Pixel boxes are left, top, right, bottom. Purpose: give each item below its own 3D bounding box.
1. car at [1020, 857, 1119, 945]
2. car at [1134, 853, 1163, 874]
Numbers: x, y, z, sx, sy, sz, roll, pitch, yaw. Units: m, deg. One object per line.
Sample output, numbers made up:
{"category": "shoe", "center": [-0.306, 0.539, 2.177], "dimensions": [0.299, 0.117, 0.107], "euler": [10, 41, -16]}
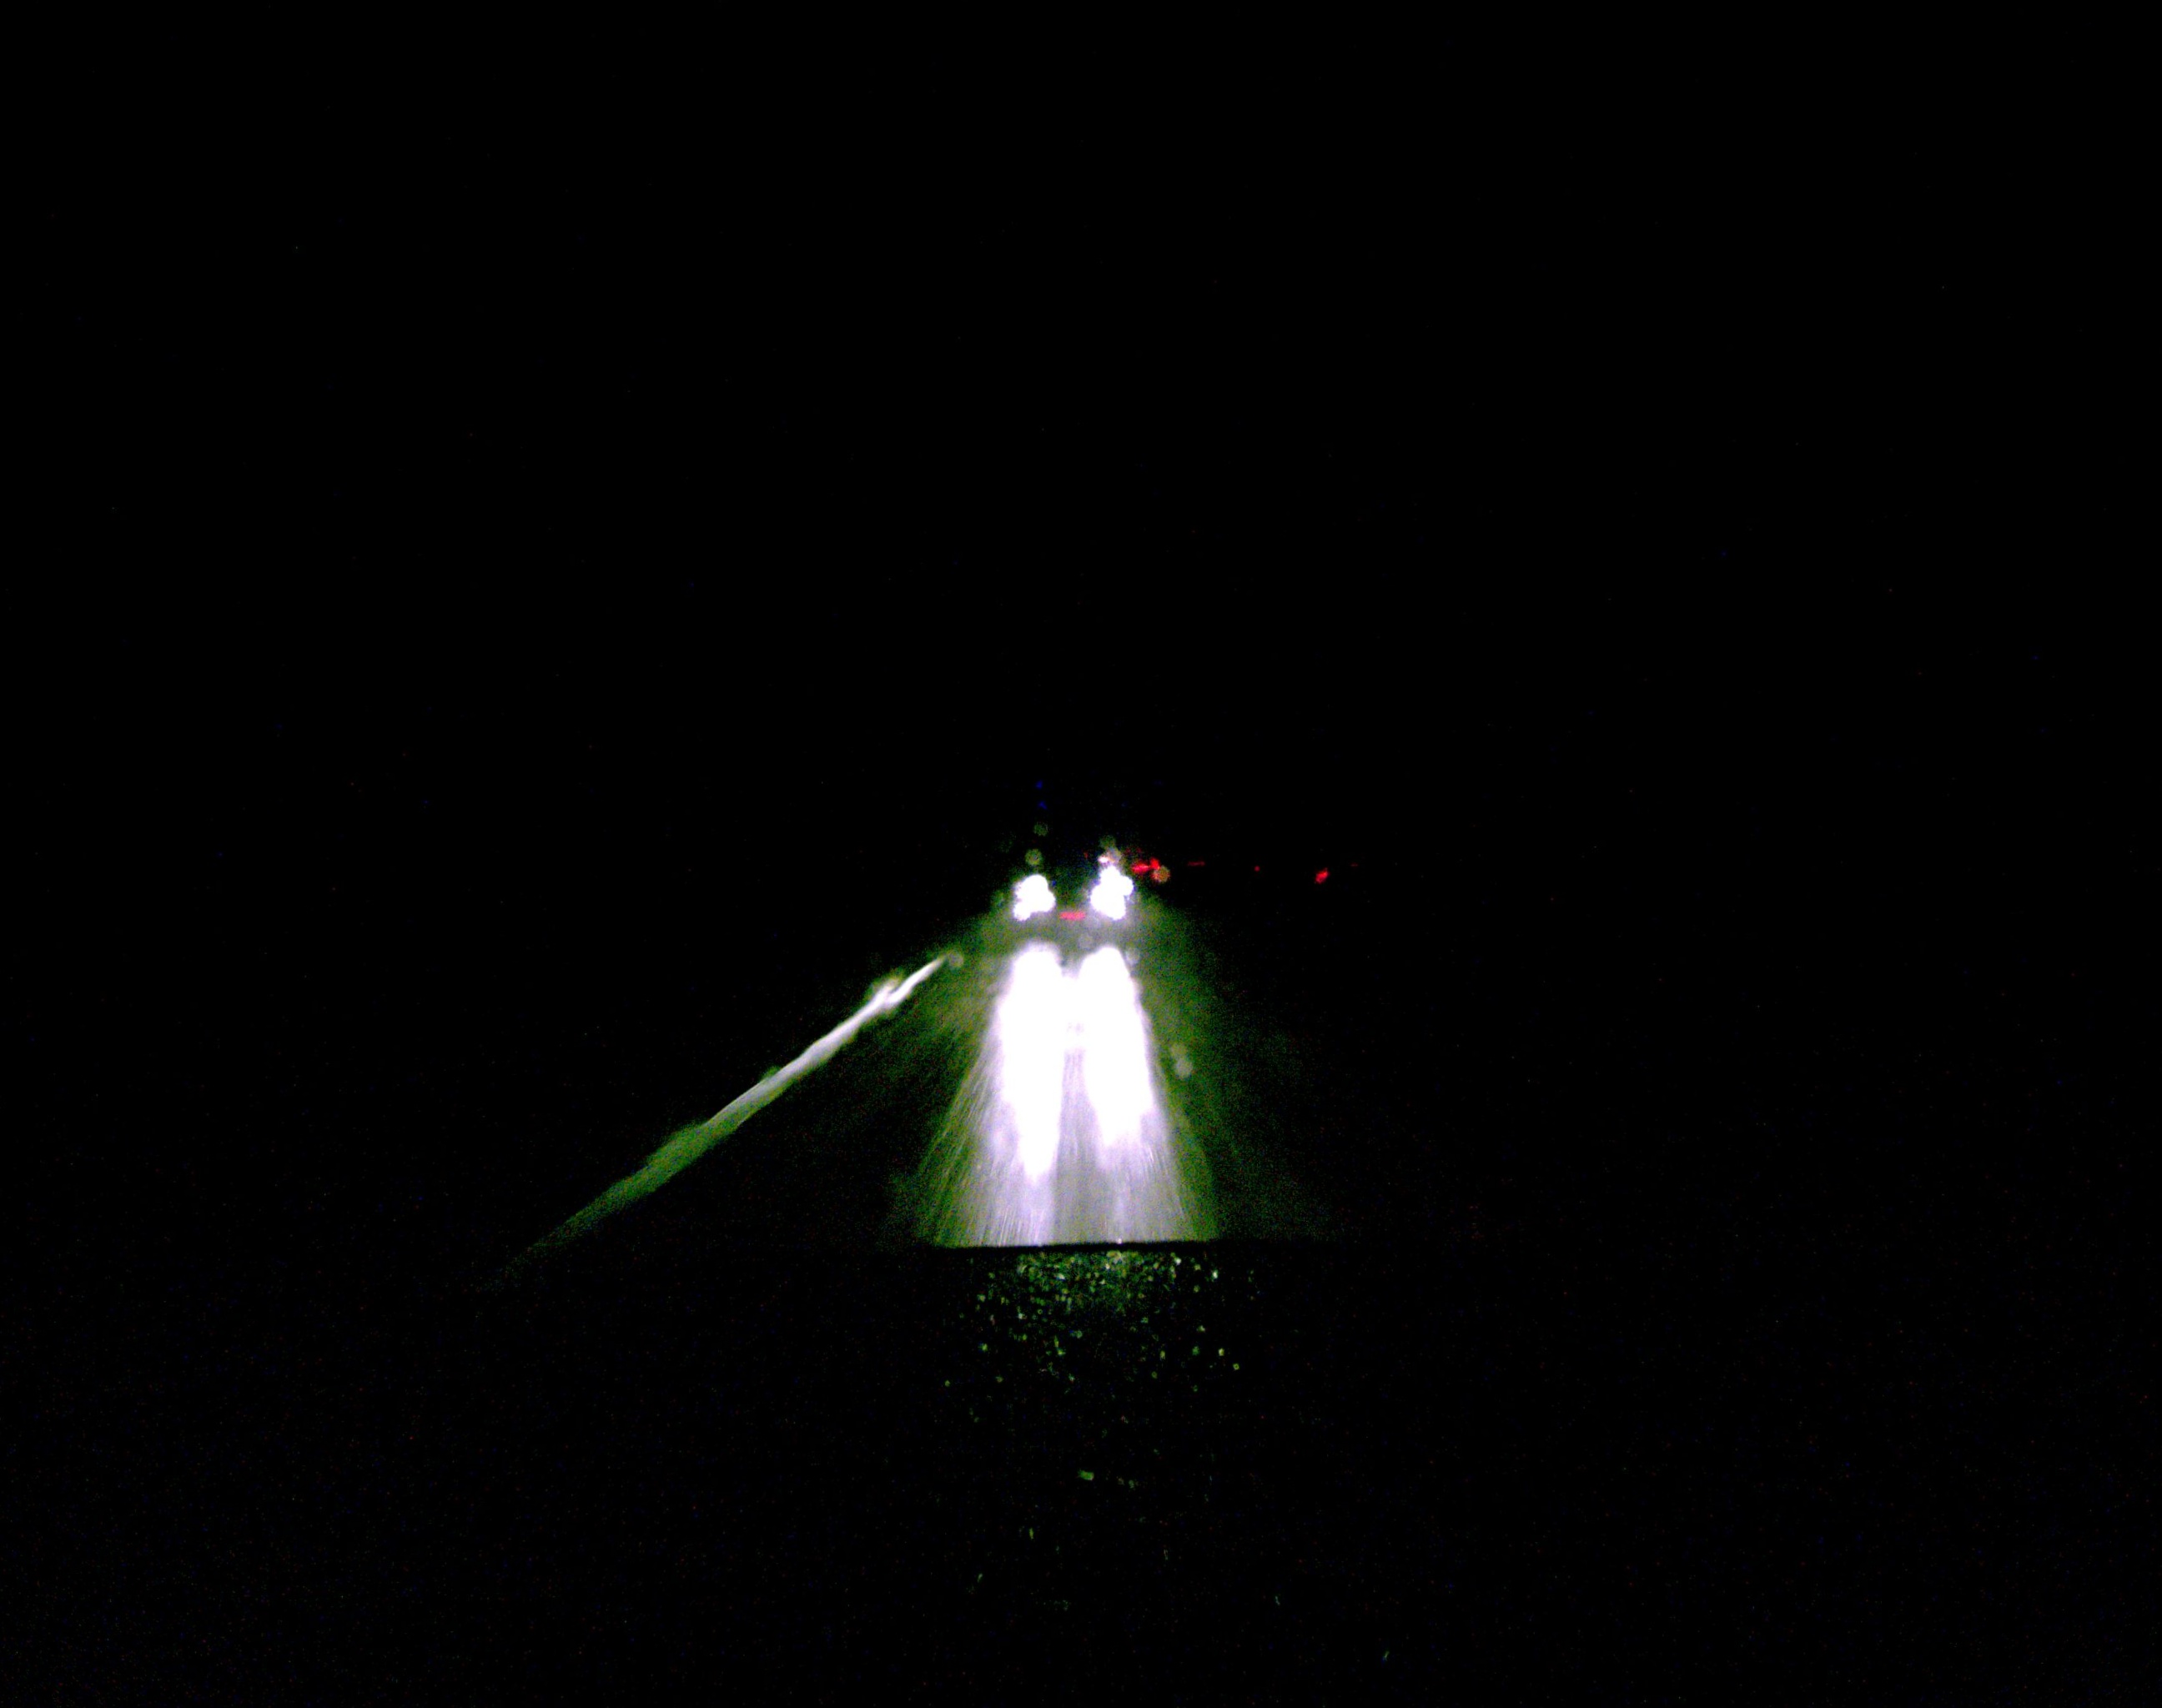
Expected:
{"category": "car", "center": [-0.120, 0.919, 16.865], "dimensions": [1.862, 1.601, 4.420], "euler": [-2, 0, 3]}
{"category": "car", "center": [5.348, 0.783, 60.268], "dimensions": [1.867, 1.535, 4.230], "euler": [-2, -1, 0]}
